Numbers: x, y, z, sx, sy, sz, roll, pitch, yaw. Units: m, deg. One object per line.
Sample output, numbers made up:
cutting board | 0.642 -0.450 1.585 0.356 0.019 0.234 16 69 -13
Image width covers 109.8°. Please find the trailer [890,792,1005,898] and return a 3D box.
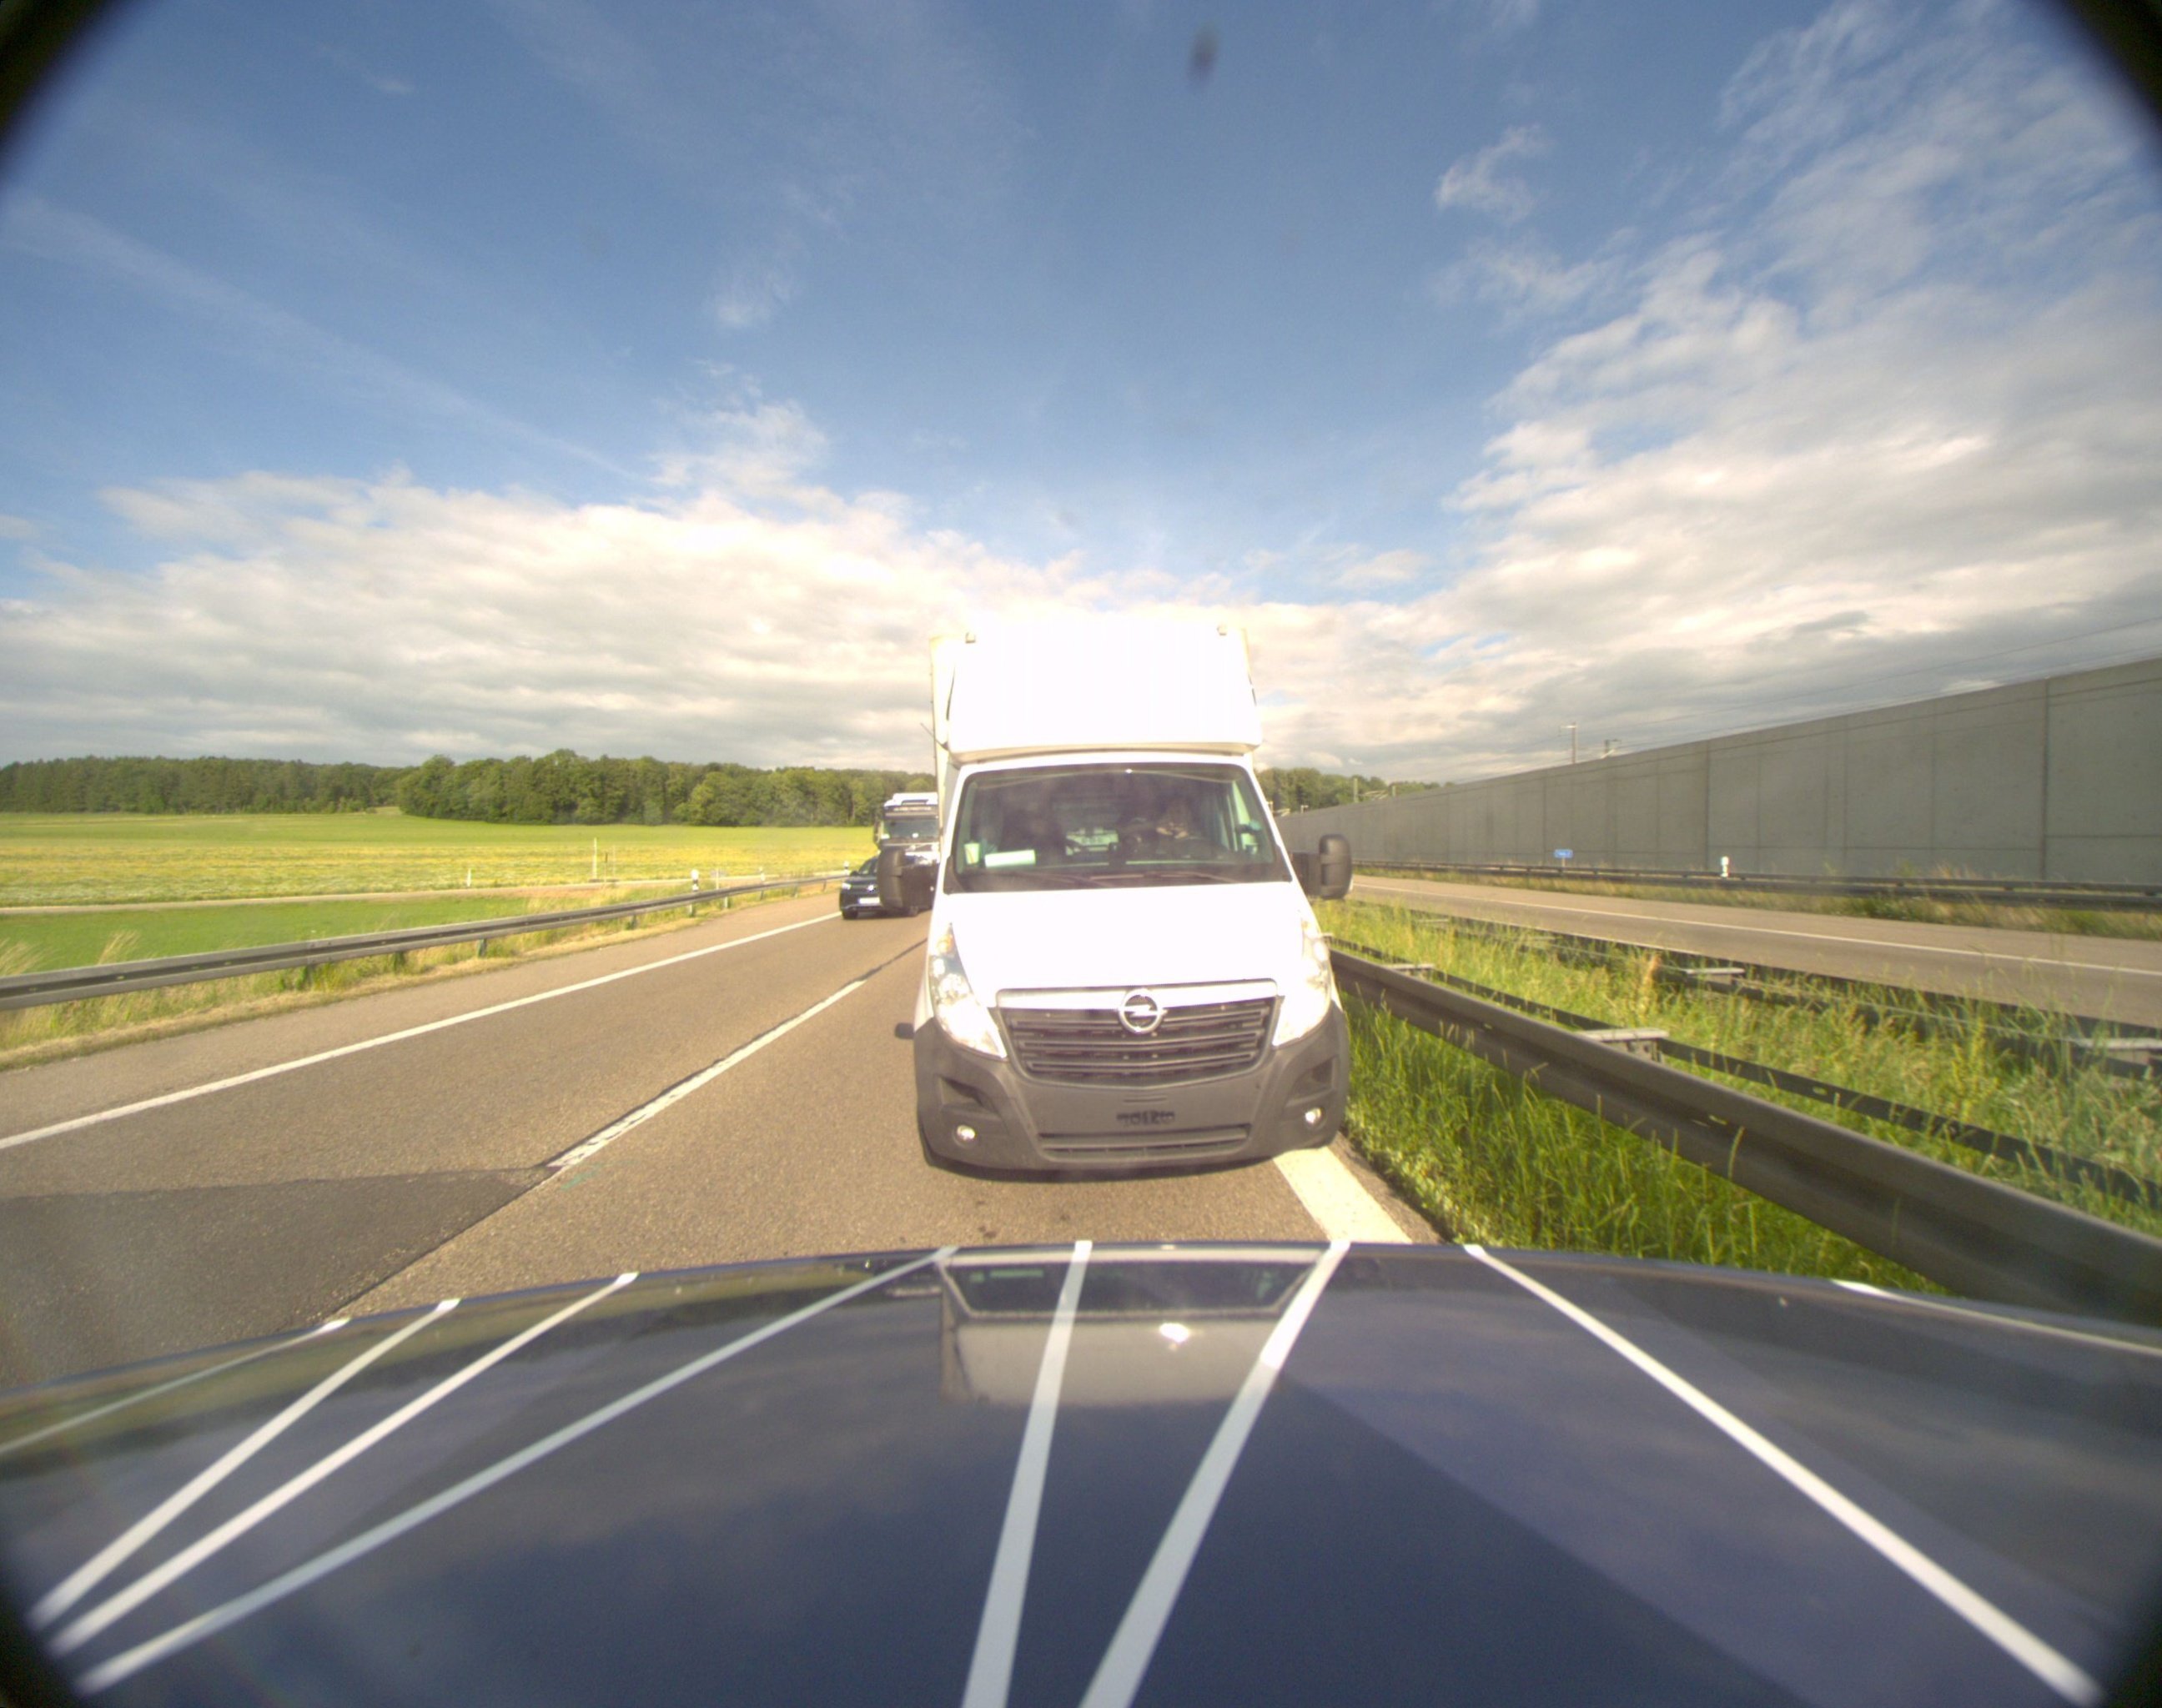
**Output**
trailer | -5.703 -0.416 35.032 2.826 3.959 12.127 -2 1 1

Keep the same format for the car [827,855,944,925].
car | -5.133 0.887 20.611 1.998 1.587 4.118 -2 1 1

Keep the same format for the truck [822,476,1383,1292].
truck | 0.142 0.090 6.840 2.060 3.088 7.802 -2 1 1

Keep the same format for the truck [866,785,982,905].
truck | -5.781 -0.344 29.179 2.842 3.967 6.500 -2 1 1
